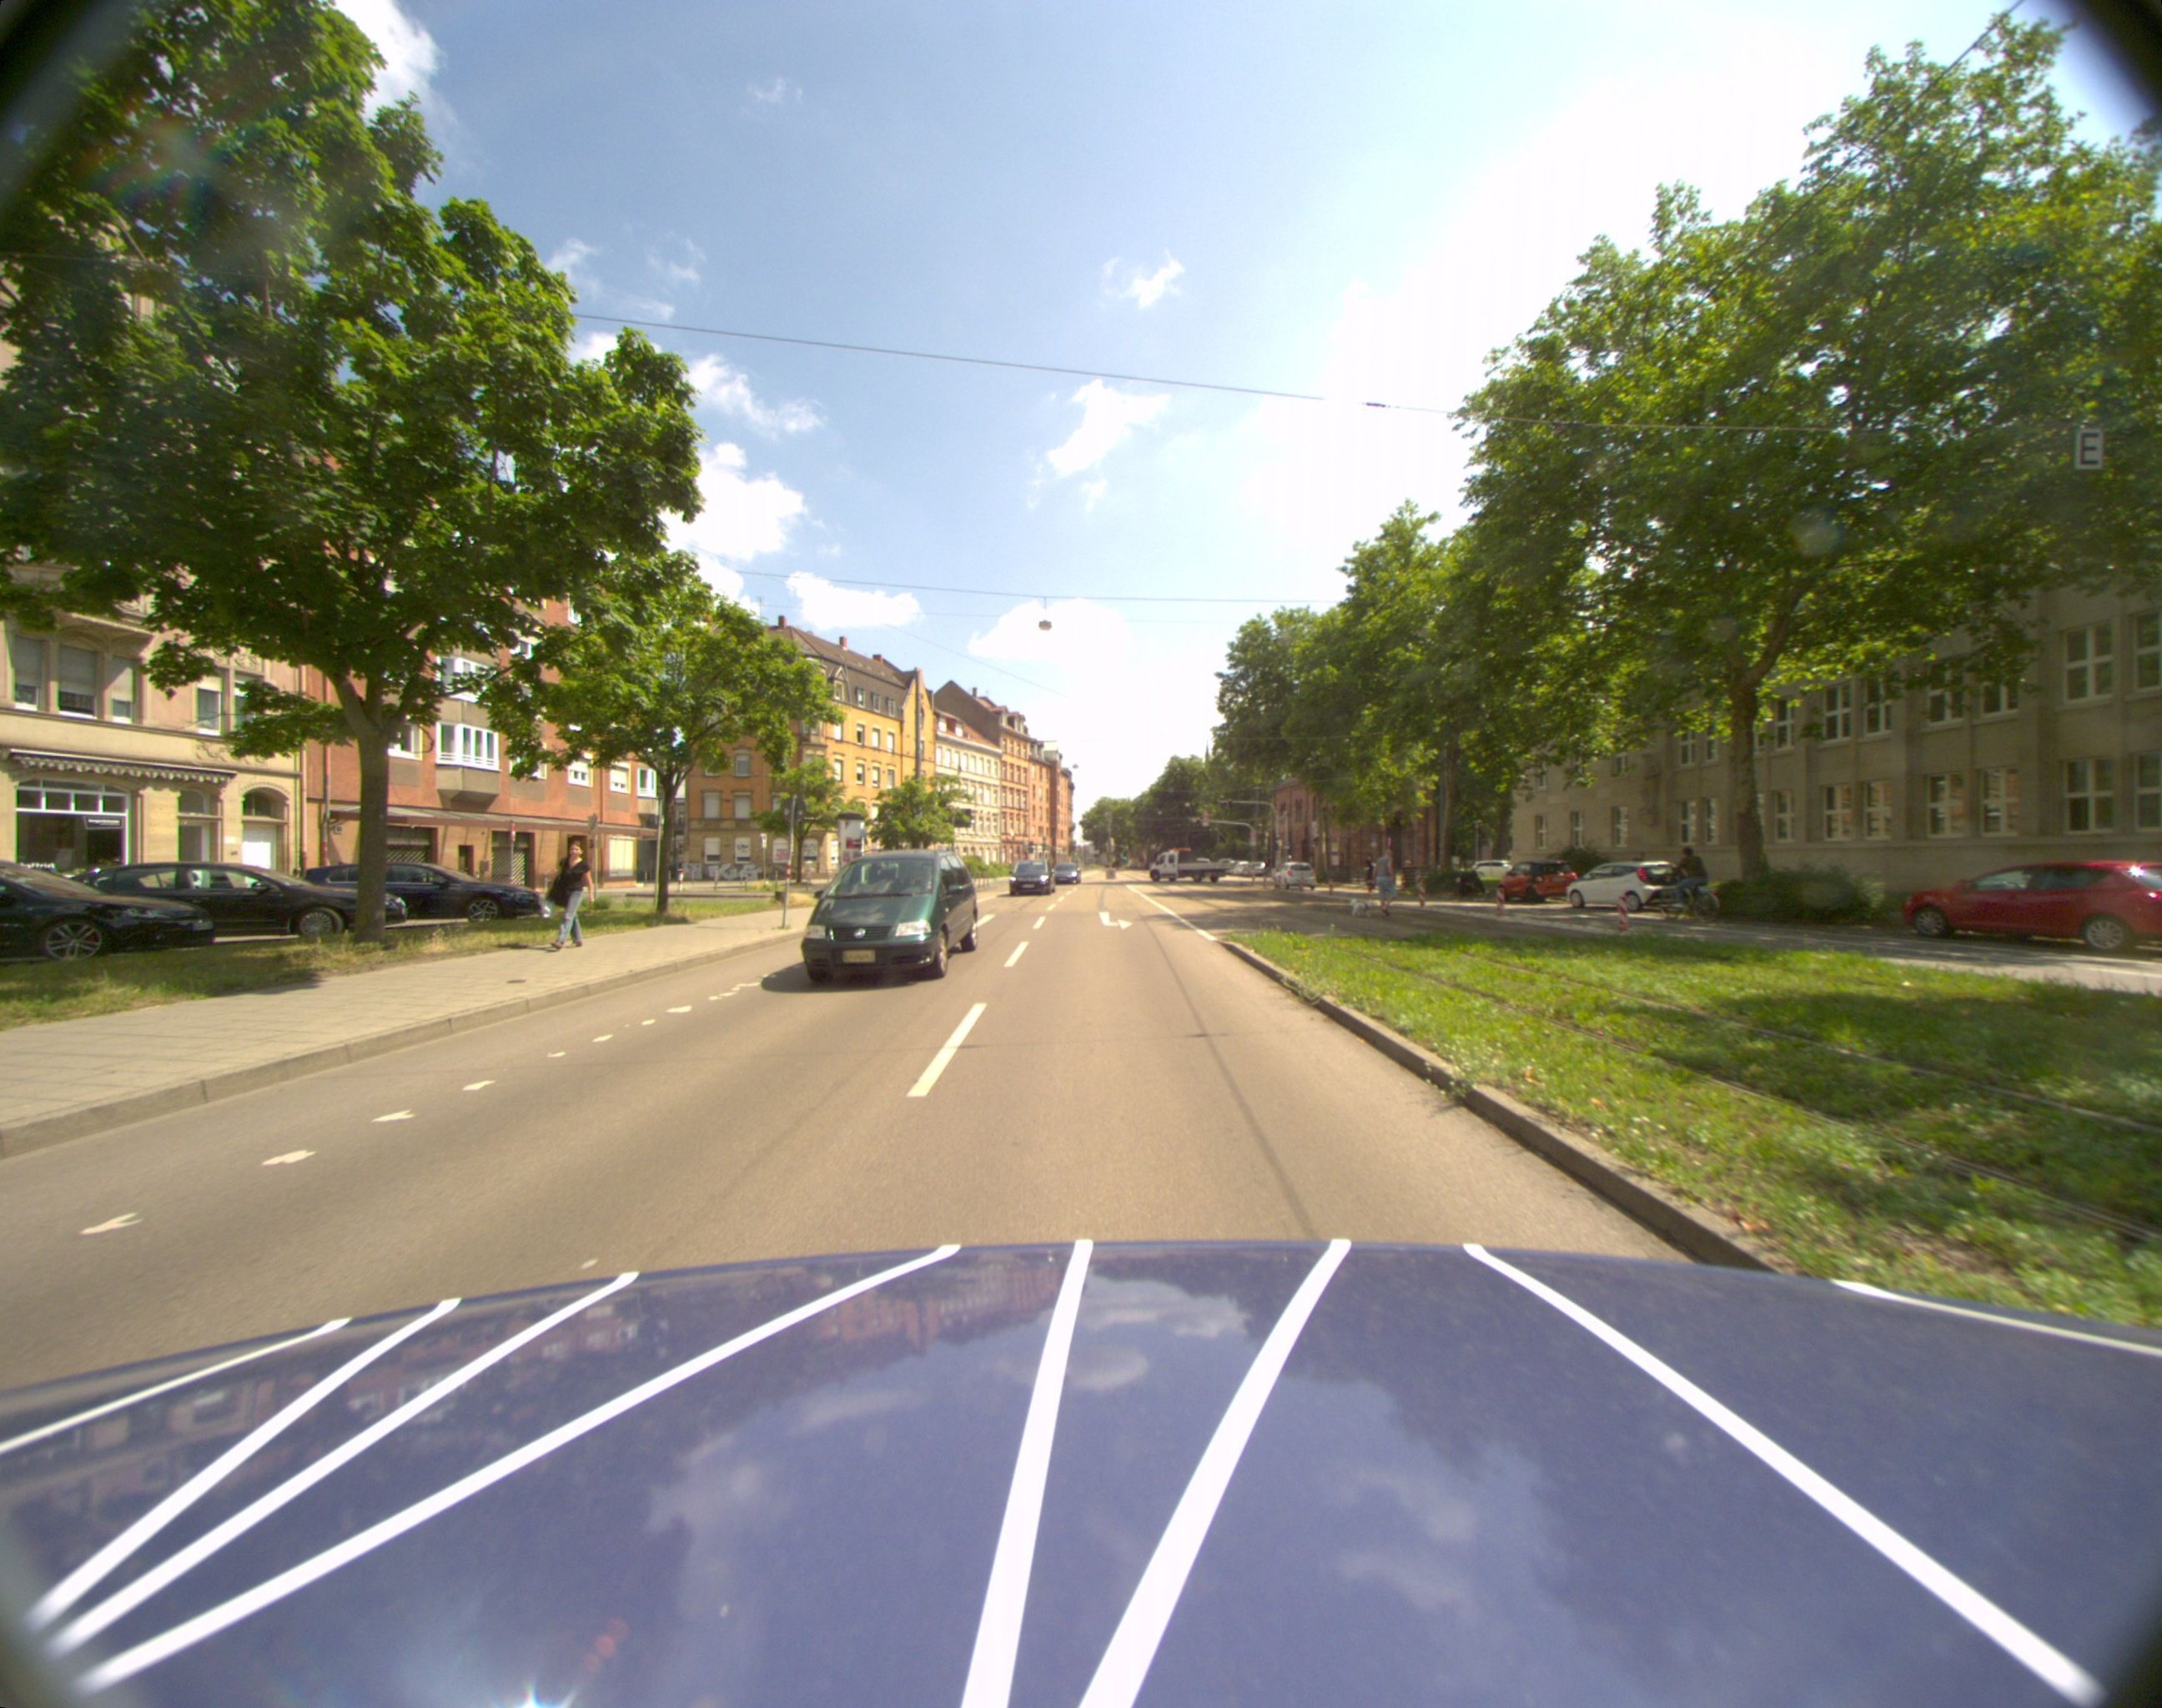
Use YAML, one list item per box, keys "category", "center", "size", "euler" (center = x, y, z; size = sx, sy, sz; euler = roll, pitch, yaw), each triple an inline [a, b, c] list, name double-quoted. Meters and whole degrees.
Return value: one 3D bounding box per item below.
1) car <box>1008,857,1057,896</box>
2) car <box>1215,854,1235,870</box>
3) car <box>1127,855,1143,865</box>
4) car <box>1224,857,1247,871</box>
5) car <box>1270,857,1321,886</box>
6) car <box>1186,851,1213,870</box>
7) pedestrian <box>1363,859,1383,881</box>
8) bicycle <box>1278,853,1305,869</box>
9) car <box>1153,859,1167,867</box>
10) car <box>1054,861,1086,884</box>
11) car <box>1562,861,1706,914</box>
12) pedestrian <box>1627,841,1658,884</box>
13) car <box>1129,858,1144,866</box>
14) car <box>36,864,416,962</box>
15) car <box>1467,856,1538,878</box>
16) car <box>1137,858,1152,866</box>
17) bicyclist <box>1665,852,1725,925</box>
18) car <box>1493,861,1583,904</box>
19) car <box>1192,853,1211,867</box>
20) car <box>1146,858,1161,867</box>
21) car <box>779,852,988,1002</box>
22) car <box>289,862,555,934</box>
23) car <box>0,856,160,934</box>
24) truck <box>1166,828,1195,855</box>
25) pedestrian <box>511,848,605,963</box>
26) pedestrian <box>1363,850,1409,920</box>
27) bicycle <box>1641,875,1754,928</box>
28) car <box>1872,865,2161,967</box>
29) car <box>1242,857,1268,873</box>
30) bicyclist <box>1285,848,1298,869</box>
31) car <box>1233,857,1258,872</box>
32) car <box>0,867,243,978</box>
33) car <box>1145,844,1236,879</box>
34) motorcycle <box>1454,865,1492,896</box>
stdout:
- category: "car"
  center: [-2.151, 0.975, 34.867]
  size: [1.875, 1.610, 4.189]
  euler: [-1, 0, 2]
- category: "car"
  center: [17.249, 0.970, 91.176]
  size: [1.761, 1.825, 4.000]
  euler: [-1, 0, 1]
- category: "car"
  center: [11.789, 1.363, 166.011]
  size: [1.765, 2.171, 3.991]
  euler: [-1, 0, -29]
- category: "car"
  center: [17.200, 1.109, 84.851]
  size: [1.761, 1.488, 4.000]
  euler: [-1, 0, 1]
- category: "car"
  center: [12.051, 0.985, 42.978]
  size: [1.764, 1.471, 3.788]
  euler: [2, -1, 0]
- category: "car"
  center: [11.919, 0.654, 76.754]
  size: [1.925, 1.735, 4.537]
  euler: [3, 0, 0]
- category: "pedestrian"
  center: [17.054, 0.921, 44.390]
  size: [0.757, 1.205, 0.913]
  euler: [-5, 0, 3]
- category: "bicycle"
  center: [17.911, 0.592, 64.553]
  size: [2.088, 1.282, 0.671]
  euler: [-2, 0, -7]
- category: "car"
  center: [14.553, 1.689, 140.222]
  size: [1.762, 1.488, 3.997]
  euler: [-1, 0, -8]
- category: "car"
  center: [-0.703, 1.240, 51.371]
  size: [1.914, 1.386, 4.314]
  euler: [-1, 0, 3]
- category: "car"
  center: [16.607, 0.955, 23.045]
  size: [1.751, 1.445, 3.491]
  euler: [-2, -1, -1]
- category: "pedestrian"
  center: [20.636, 0.307, 27.942]
  size: [0.555, 1.582, 0.795]
  euler: [-1, 1, 0]
- category: "car"
  center: [11.438, 1.635, 156.019]
  size: [1.764, 1.488, 3.994]
  euler: [-1, 0, -18]
- category: "car"
  center: [-14.523, 0.912, 13.330]
  size: [4.007, 1.372, 1.957]
  euler: [-1, 0, -32]
- category: "car"
  center: [31.821, 0.944, 57.475]
  size: [1.764, 1.599, 4.400]
  euler: [0, 0, -30]
- category: "car"
  center: [12.641, 1.558, 151.552]
  size: [1.763, 1.488, 3.994]
  euler: [-1, 0, -16]
- category: "bicyclist"
  center: [14.645, 0.813, 18.139]
  size: [0.763, 1.694, 0.783]
  euler: [-1, 1, -3]
- category: "car"
  center: [16.580, 1.019, 27.706]
  size: [1.490, 1.445, 2.883]
  euler: [-2, -1, -1]
- category: "car"
  center: [17.567, 0.870, 111.073]
  size: [1.993, 1.992, 4.084]
  euler: [-1, 0, -2]
- category: "car"
  center: [13.776, 1.615, 144.604]
  size: [1.762, 1.488, 3.997]
  euler: [-1, 0, -9]
- category: "car"
  center: [-2.675, 0.871, 11.609]
  size: [1.823, 1.746, 5.031]
  euler: [-1, 0, 0]
- category: "car"
  center: [-14.356, 0.893, 16.891]
  size: [4.004, 1.346, 1.958]
  euler: [-1, 0, -22]
- category: "car"
  center: [-23.495, 0.875, 16.295]
  size: [1.836, 1.606, 4.497]
  euler: [-1, 0, 4]
- category: "truck"
  center: [12.288, -1.520, 94.202]
  size: [2.645, 3.088, 7.222]
  euler: [2, 0, 1]
- category: "pedestrian"
  center: [-8.194, 0.776, 11.950]
  size: [0.702, 1.694, 1.044]
  euler: [2, 0, -1]
- category: "pedestrian"
  center: [7.625, 0.754, 18.982]
  size: [0.784, 1.694, 0.701]
  euler: [-1, 1, -23]
- category: "bicycle"
  center: [14.652, 1.093, 18.157]
  size: [0.793, 1.103, 2.276]
  euler: [-1, 0, -2]
- category: "car"
  center: [16.595, 0.926, 12.992]
  size: [1.931, 1.411, 4.050]
  euler: [-2, -1, 1]
- category: "car"
  center: [17.297, 1.119, 75.675]
  size: [1.761, 1.488, 4.000]
  euler: [-1, 0, 1]
- category: "bicyclist"
  center: [17.880, 0.399, 64.555]
  size: [0.885, 1.774, 0.662]
  euler: [-2, 0, -7]
- category: "car"
  center: [17.352, 1.112, 80.268]
  size: [1.761, 1.488, 4.000]
  euler: [-1, 0, 1]
- category: "car"
  center: [-14.758, 0.914, 10.355]
  size: [4.006, 1.372, 1.957]
  euler: [-1, 0, -27]
- category: "car"
  center: [7.801, 0.543, 55.056]
  size: [2.267, 2.360, 6.961]
  euler: [0, 0, -37]
- category: "motorcycle"
  center: [16.895, 1.145, 32.734]
  size: [2.111, 1.168, 0.543]
  euler: [-3, -2, -37]
